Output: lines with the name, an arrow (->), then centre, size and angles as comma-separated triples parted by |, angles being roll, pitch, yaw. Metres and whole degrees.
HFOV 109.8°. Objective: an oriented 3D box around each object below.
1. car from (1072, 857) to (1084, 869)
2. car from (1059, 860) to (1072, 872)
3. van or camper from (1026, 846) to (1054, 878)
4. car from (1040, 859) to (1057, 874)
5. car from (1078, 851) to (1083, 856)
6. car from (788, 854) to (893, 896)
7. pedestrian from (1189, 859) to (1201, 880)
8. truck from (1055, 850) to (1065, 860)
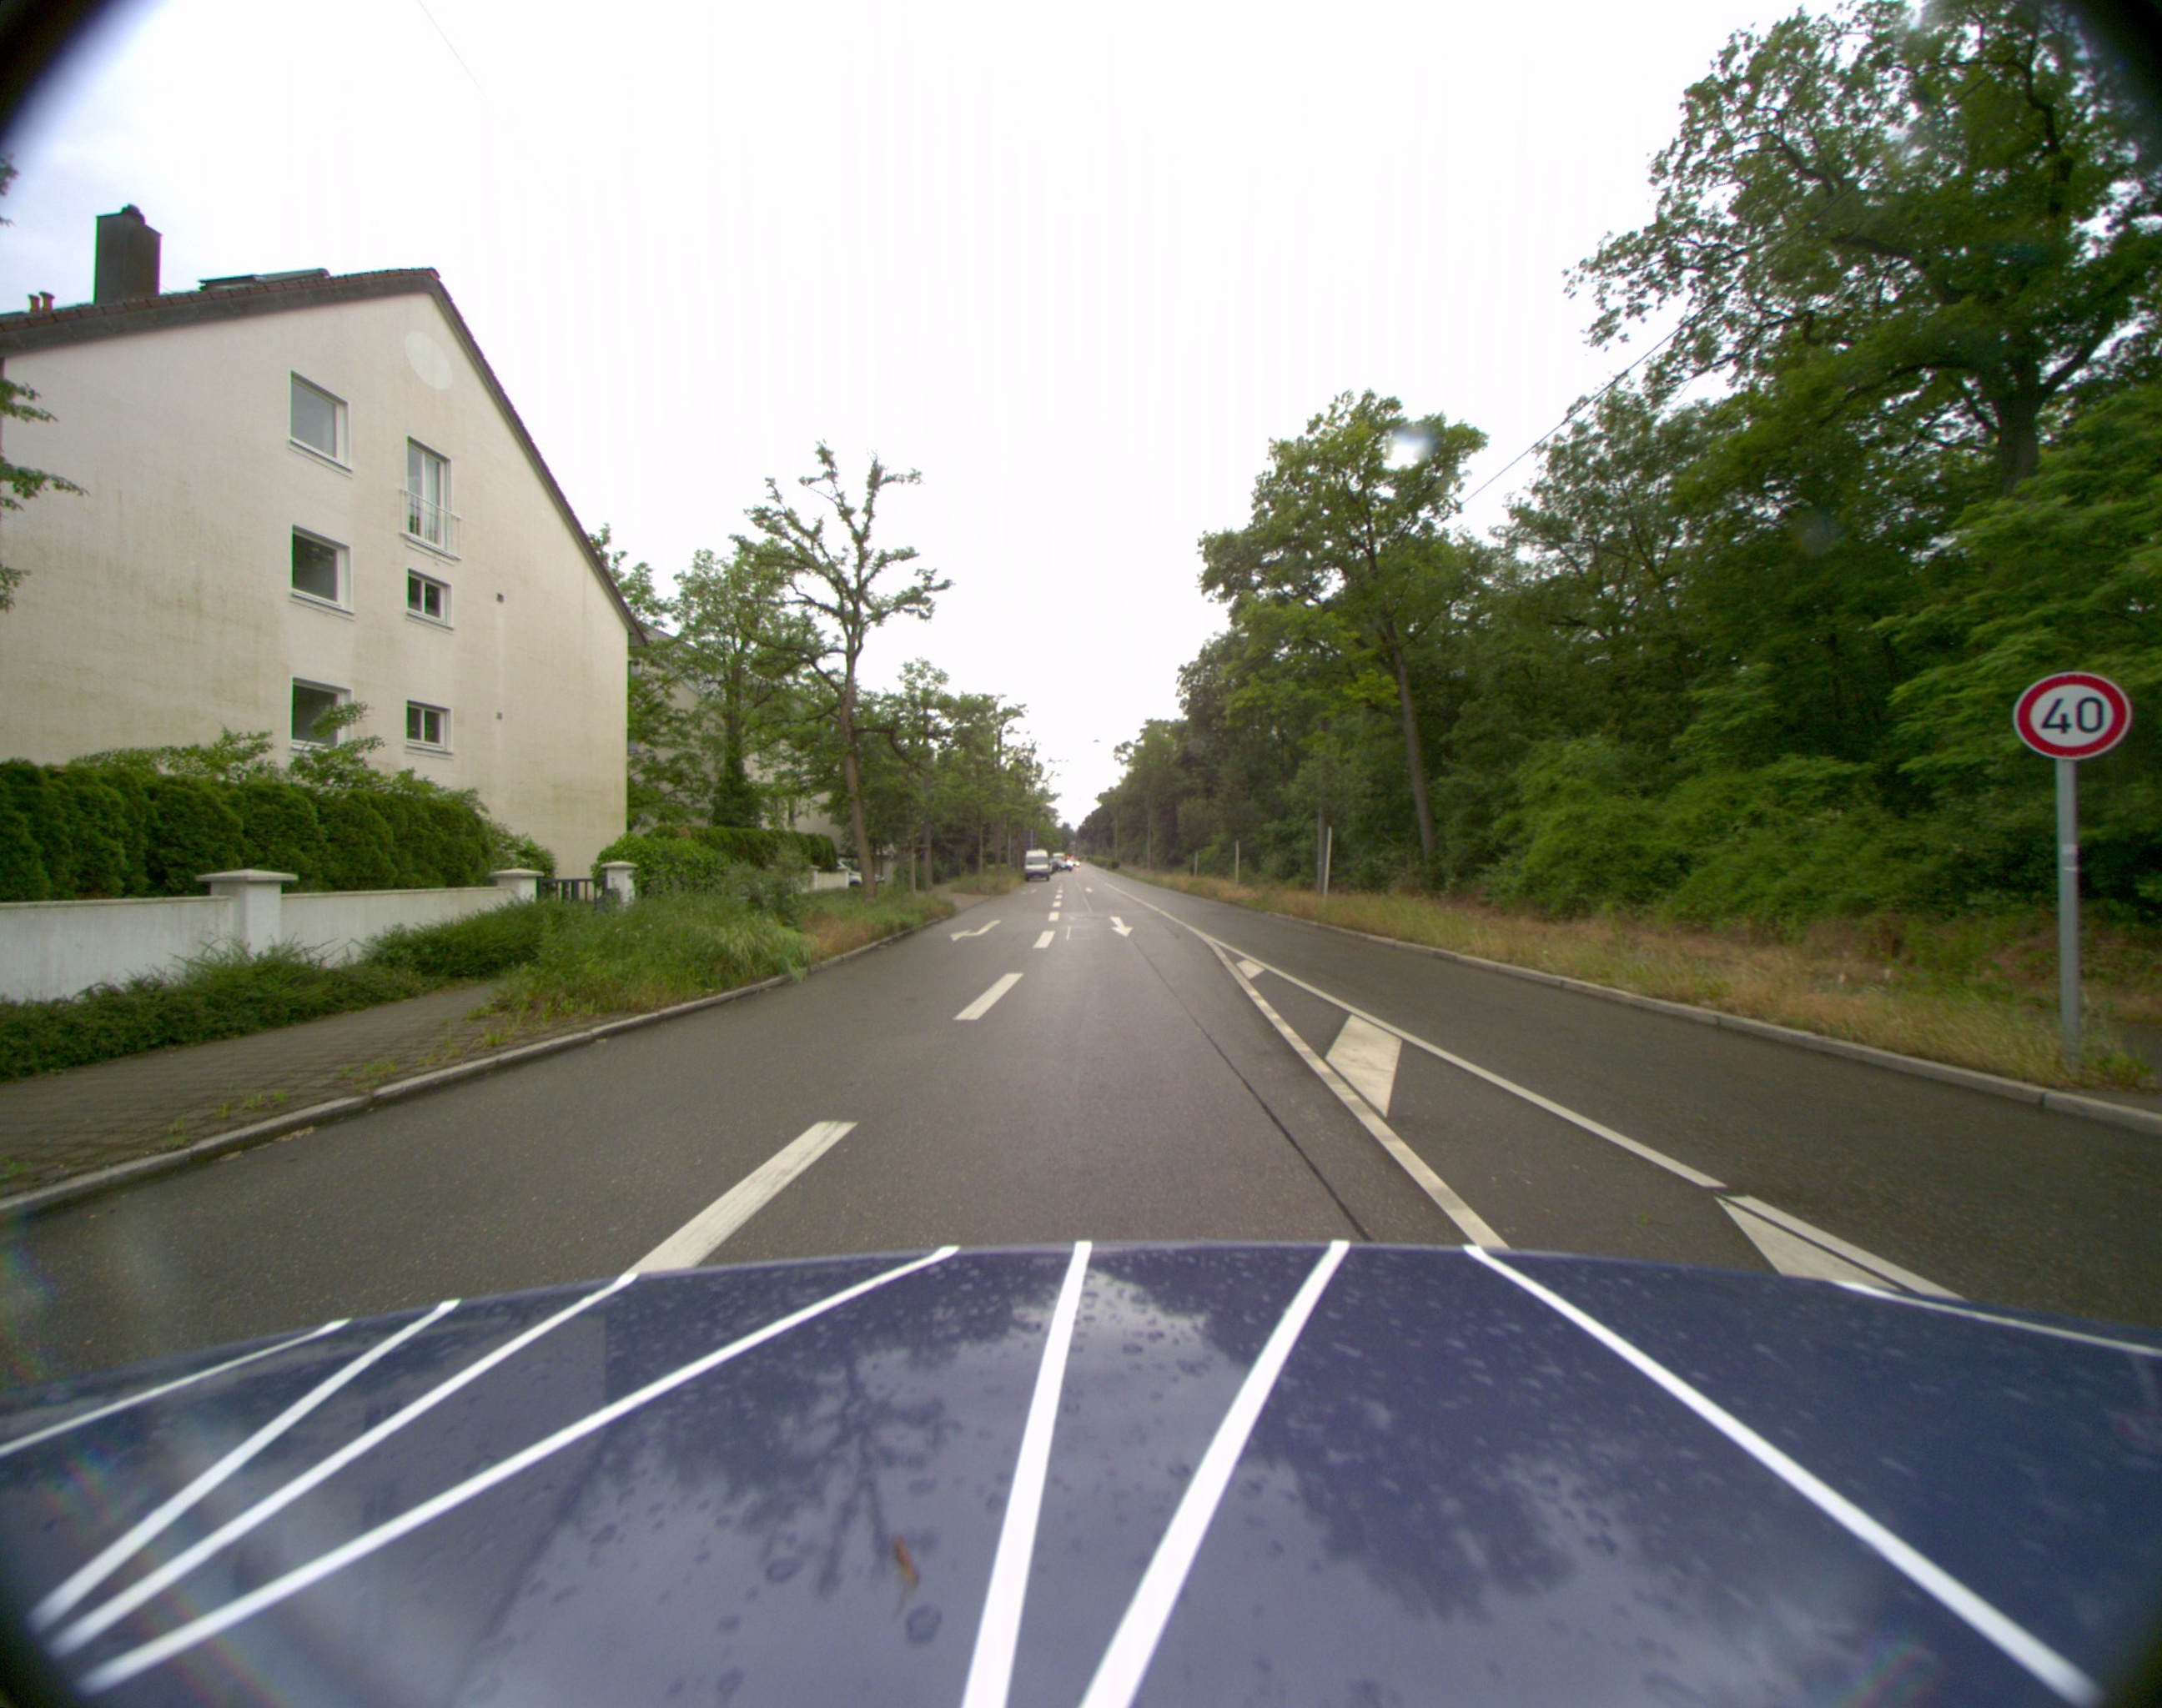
car -> -0.487, 1.554, 131.009 | 1.998, 2.002, 3.999 | -1, 1, 1
car -> -2.044, 1.565, 98.913 | 1.622, 1.459, 4.409 | -2, 0, -2
van or camper -> -3.379, 0.660, 63.583 | 2.042, 2.465, 5.637 | -3, 0, -1
car -> -3.441, 1.346, 80.623 | 1.576, 1.463, 3.764 | -2, 0, -1
car -> -0.217, -0.101, 261.475 | 1.681, 1.608, 4.061 | 1, 0, -2
car -> -11.287, 0.980, 35.798 | 4.312, 1.807, 1.876 | -1, 0, 10
pedestrian -> 8.678, 1.152, 57.904 | 0.783, 1.598, 0.732 | 0, 0, -2
truck -> -4.849, 0.277, 174.124 | 2.230, 2.321, 5.112 | 1, 0, -2
